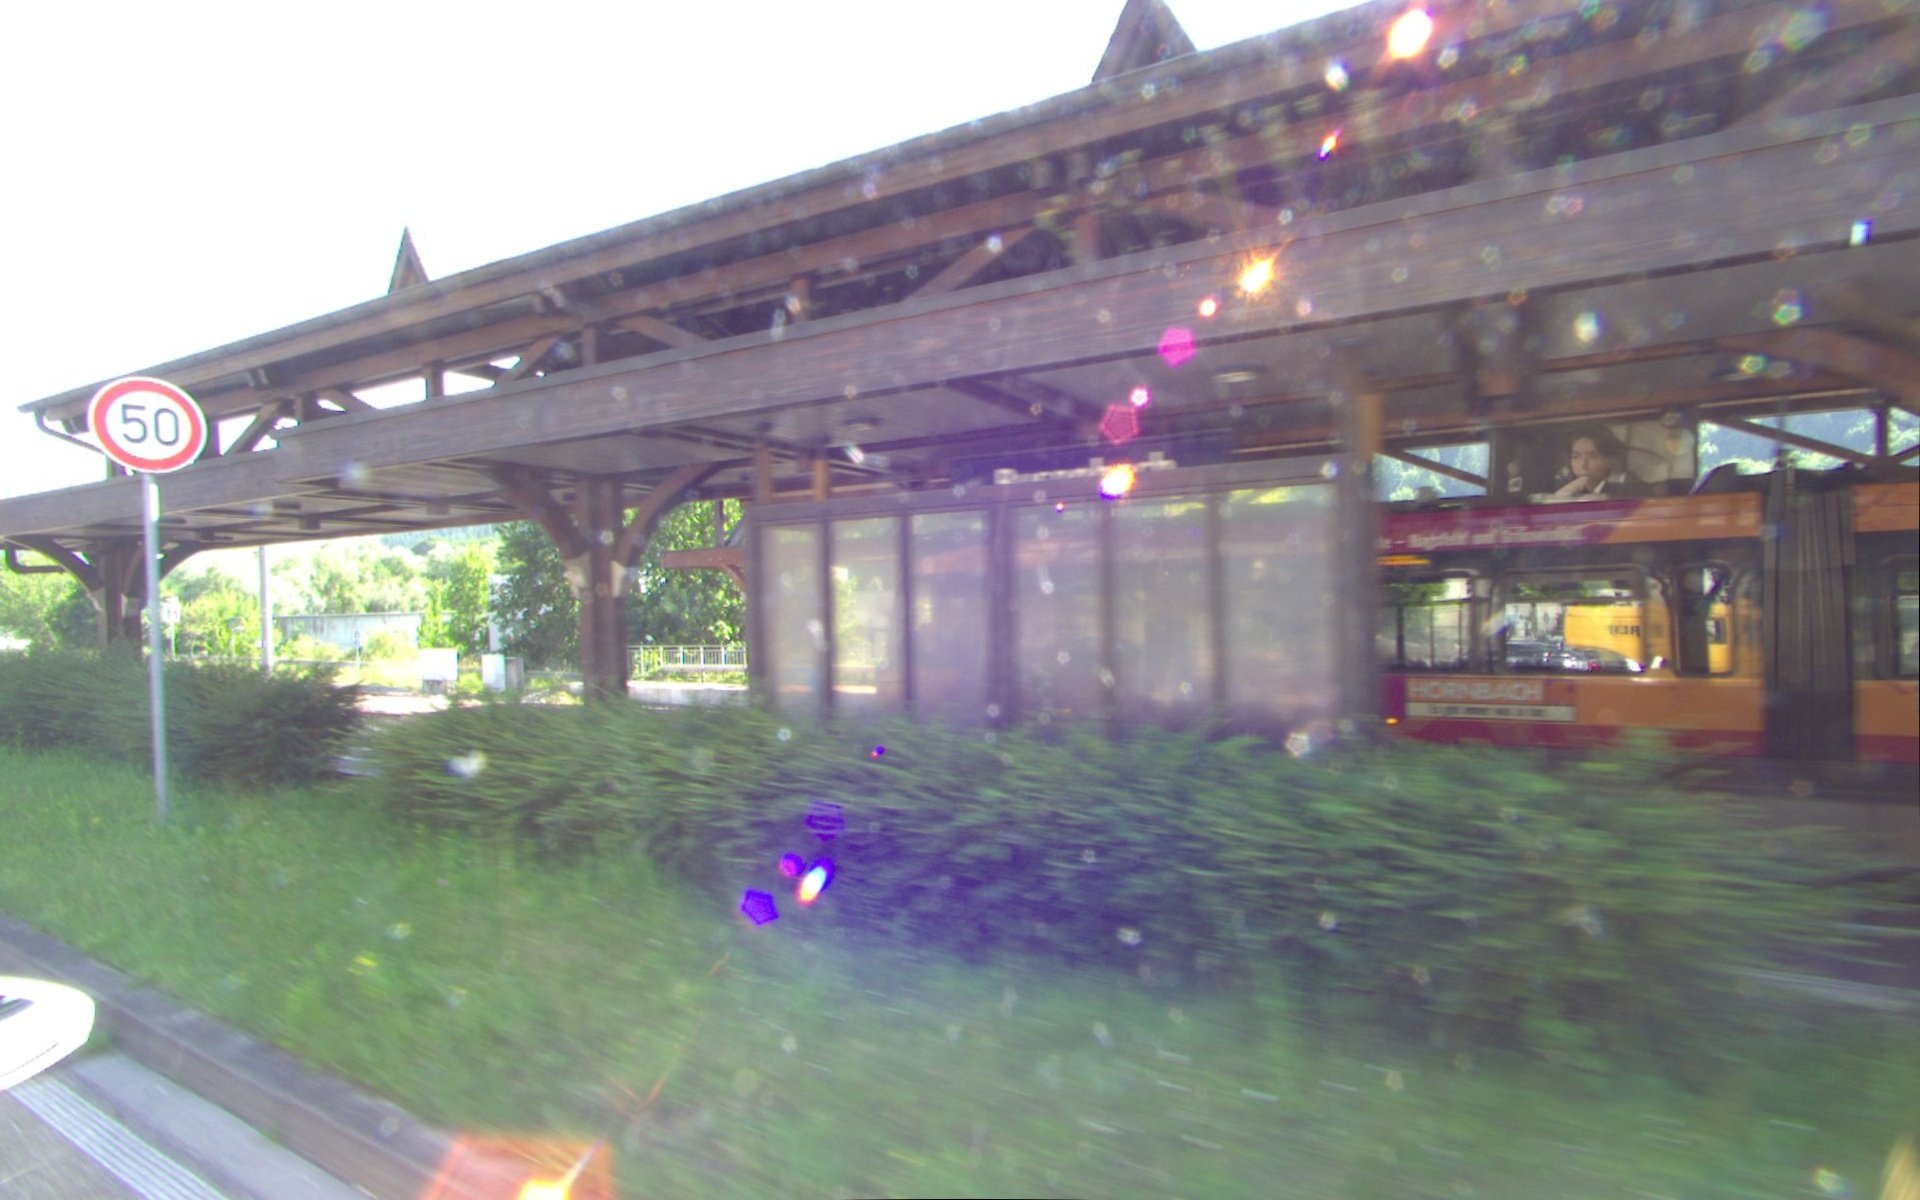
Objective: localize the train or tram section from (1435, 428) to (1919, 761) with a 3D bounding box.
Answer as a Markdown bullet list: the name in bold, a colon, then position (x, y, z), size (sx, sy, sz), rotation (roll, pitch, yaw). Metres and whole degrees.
- **train or tram section**: position (11.750, -0.028, 10.721), size (11.869, 3.406, 2.784), rotation (-1, -3, 30)

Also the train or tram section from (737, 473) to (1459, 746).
- **train or tram section**: position (1.630, 0.211, 16.776), size (11.872, 3.406, 2.753), rotation (0, -2, 32)
